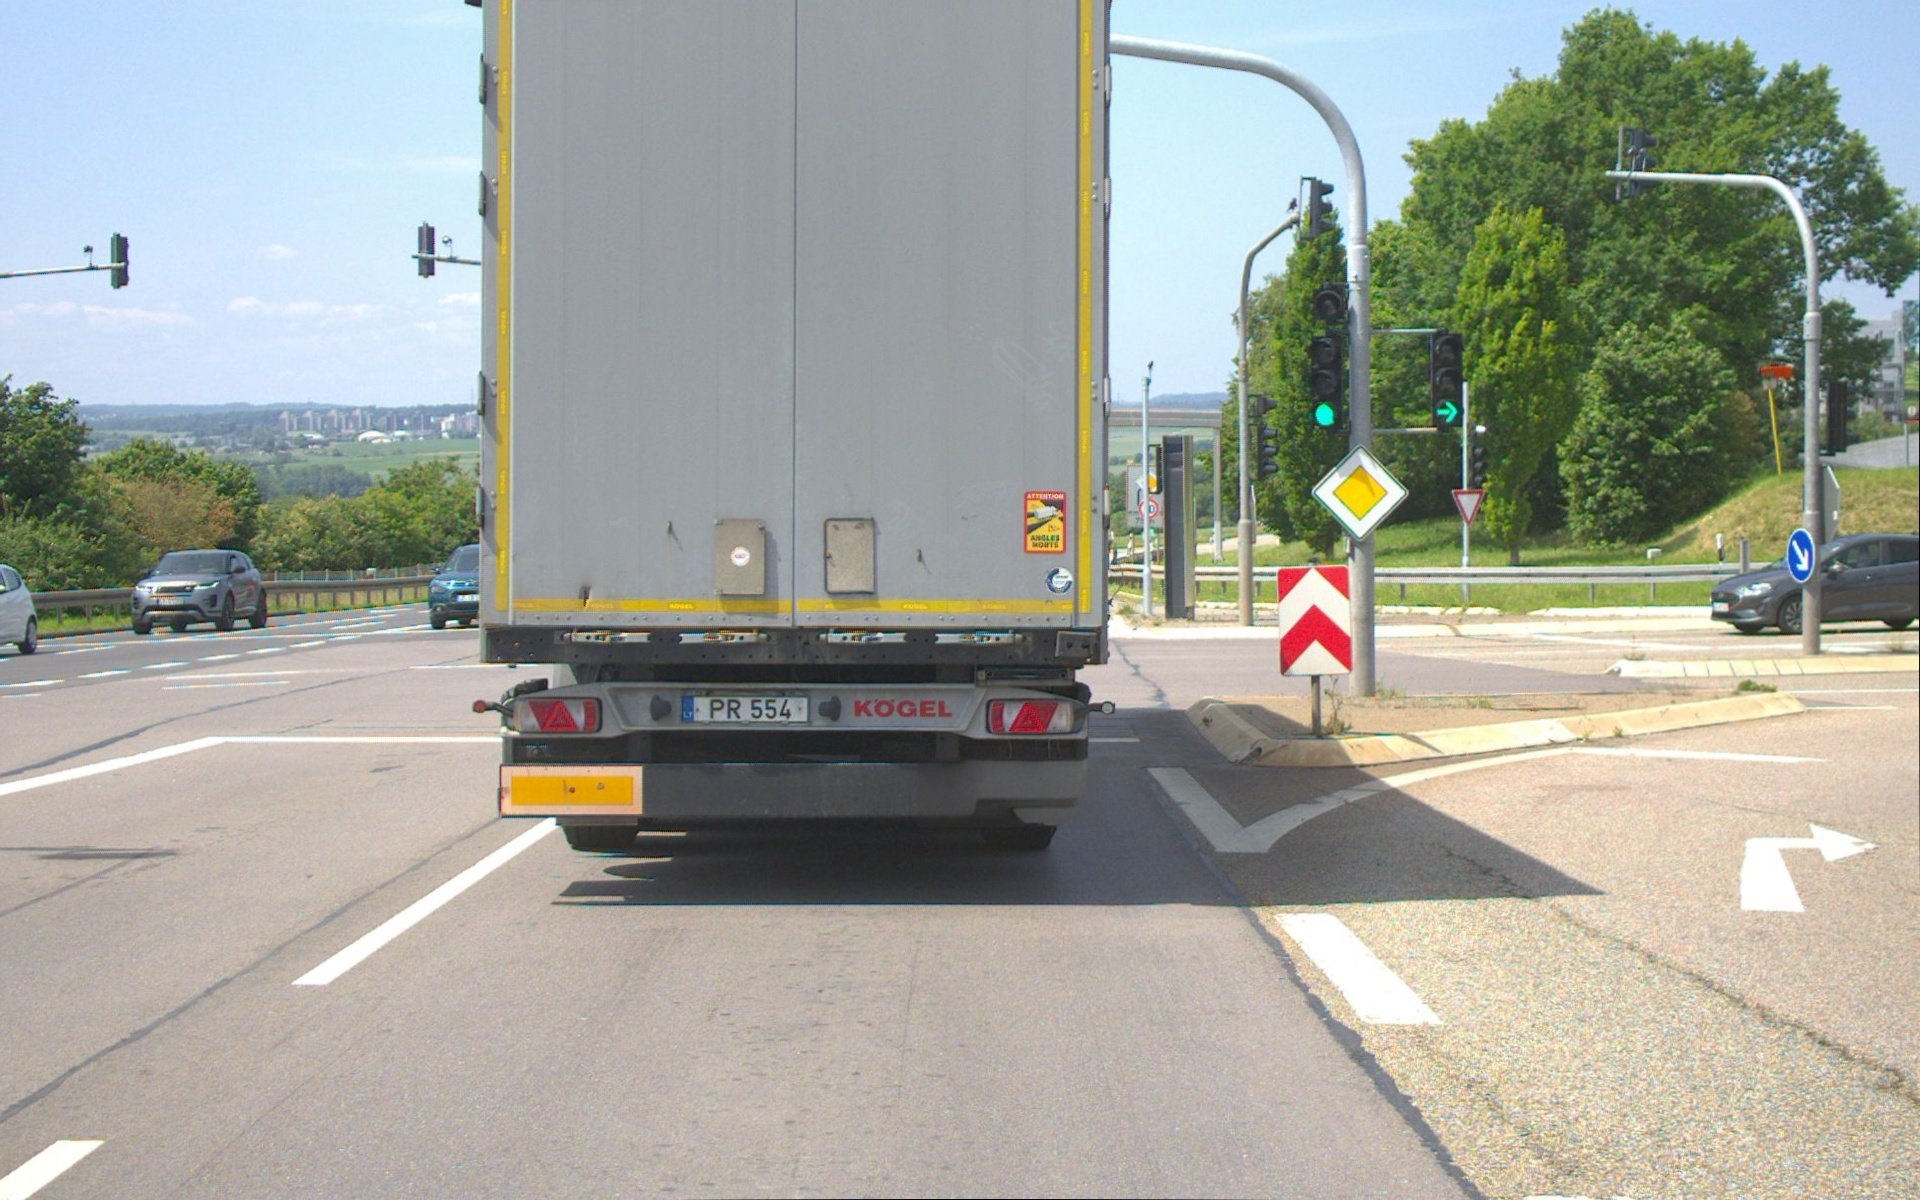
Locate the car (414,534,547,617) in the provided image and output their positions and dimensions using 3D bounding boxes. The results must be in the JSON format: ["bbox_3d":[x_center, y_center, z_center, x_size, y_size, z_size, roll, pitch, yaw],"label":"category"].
[{"bbox_3d":[-8.752,-0.470,63.041,1.755,1.464,4.196,0,1,1],"label":"car"}]

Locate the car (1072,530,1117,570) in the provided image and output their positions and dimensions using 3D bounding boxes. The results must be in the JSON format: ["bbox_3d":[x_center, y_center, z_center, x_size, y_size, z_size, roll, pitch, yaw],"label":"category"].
[{"bbox_3d":[5.871,-2.168,149.519,1.786,1.682,3.999,1,0,4],"label":"car"}]

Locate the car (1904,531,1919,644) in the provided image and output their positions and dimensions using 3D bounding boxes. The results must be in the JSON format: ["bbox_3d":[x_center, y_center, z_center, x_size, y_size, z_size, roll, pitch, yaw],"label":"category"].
[{"bbox_3d":[14.956,-0.174,45.663,4.357,1.505,1.717,0,1,-12],"label":"car"}]

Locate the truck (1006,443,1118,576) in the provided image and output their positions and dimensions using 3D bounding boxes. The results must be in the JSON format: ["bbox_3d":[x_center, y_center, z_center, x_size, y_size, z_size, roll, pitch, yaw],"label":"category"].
[{"bbox_3d":[3.135,-2.609,103.054,2.656,3.751,10.160,1,0,5],"label":"truck"}]

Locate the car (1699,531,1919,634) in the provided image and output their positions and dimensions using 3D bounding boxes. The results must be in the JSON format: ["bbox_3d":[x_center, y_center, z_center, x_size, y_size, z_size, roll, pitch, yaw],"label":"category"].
[{"bbox_3d":[13.327,-0.275,51.688,3.986,1.505,1.717,0,1,-9],"label":"car"}]

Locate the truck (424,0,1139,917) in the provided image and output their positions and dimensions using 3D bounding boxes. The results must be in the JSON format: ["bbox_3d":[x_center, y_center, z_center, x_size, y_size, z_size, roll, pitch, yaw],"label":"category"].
[{"bbox_3d":[-0.960,-0.807,19.321,2.799,3.916,11.343,1,1,-3],"label":"truck"}]

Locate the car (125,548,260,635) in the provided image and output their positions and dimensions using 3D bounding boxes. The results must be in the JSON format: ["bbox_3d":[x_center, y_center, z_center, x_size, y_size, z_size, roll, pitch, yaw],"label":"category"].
[{"bbox_3d":[-15.275,-0.174,68.592,1.644,1.618,4.328,-2,0,0],"label":"car"}]

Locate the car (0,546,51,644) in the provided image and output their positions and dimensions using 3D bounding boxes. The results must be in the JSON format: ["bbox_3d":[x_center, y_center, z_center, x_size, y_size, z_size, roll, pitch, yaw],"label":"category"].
[{"bbox_3d":[-15.483,-0.064,53.292,1.644,1.491,3.801,-2,0,2],"label":"car"}]
